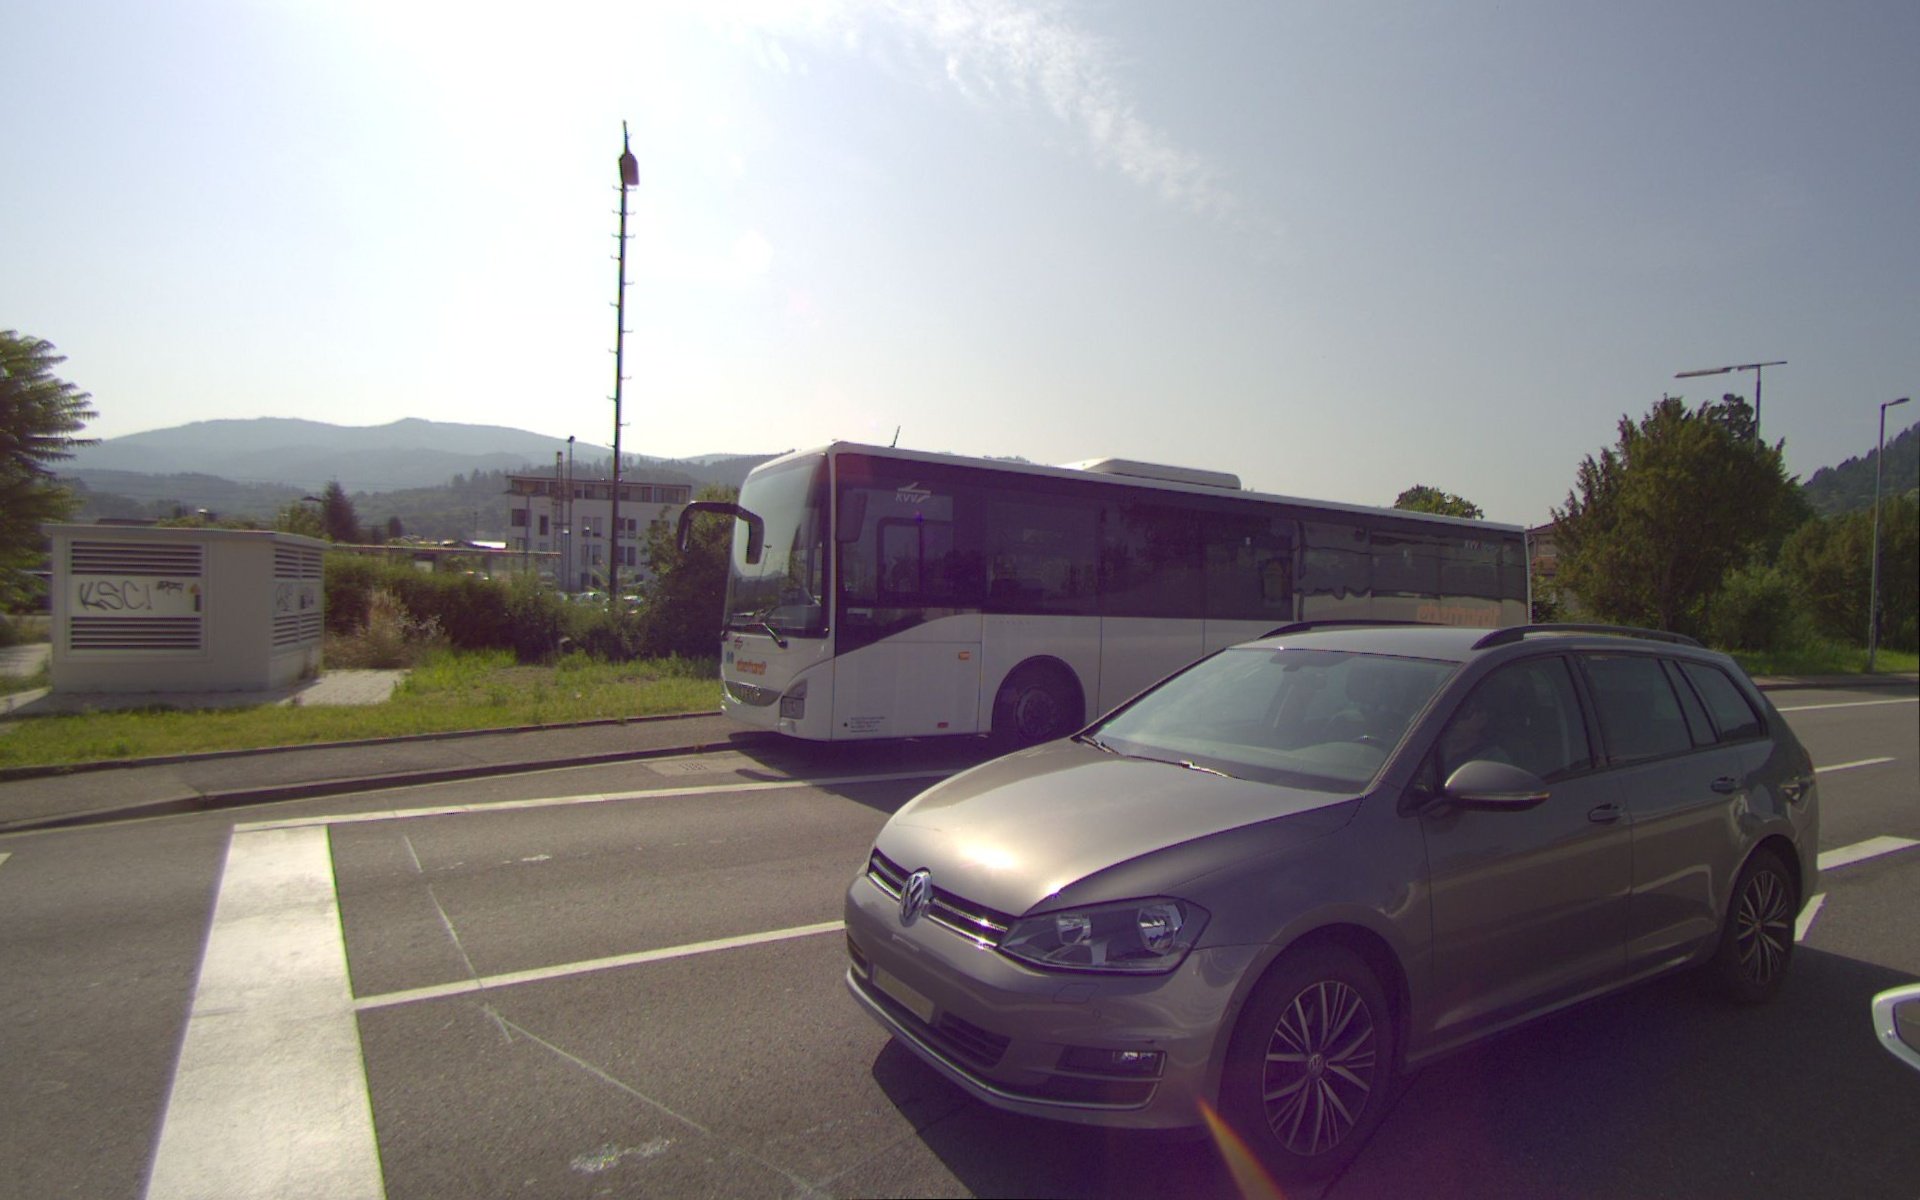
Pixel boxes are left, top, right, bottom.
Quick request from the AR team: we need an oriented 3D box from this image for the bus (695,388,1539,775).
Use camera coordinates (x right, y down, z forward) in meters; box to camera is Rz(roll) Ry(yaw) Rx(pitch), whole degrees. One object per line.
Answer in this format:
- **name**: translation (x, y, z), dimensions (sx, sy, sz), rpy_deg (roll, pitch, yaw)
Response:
- **bus**: translation (2.857, 0.019, 12.914), dimensions (11.822, 3.354, 2.607), rpy_deg (2, -1, -32)

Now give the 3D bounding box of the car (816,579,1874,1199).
- **car**: translation (1.710, 0.763, 4.048), dimensions (4.170, 1.492, 1.764), rpy_deg (2, -1, -30)

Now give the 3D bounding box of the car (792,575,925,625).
- **car**: translation (-2.803, 0.013, 27.896), dimensions (3.433, 1.255, 1.303), rpy_deg (2, -1, -29)
